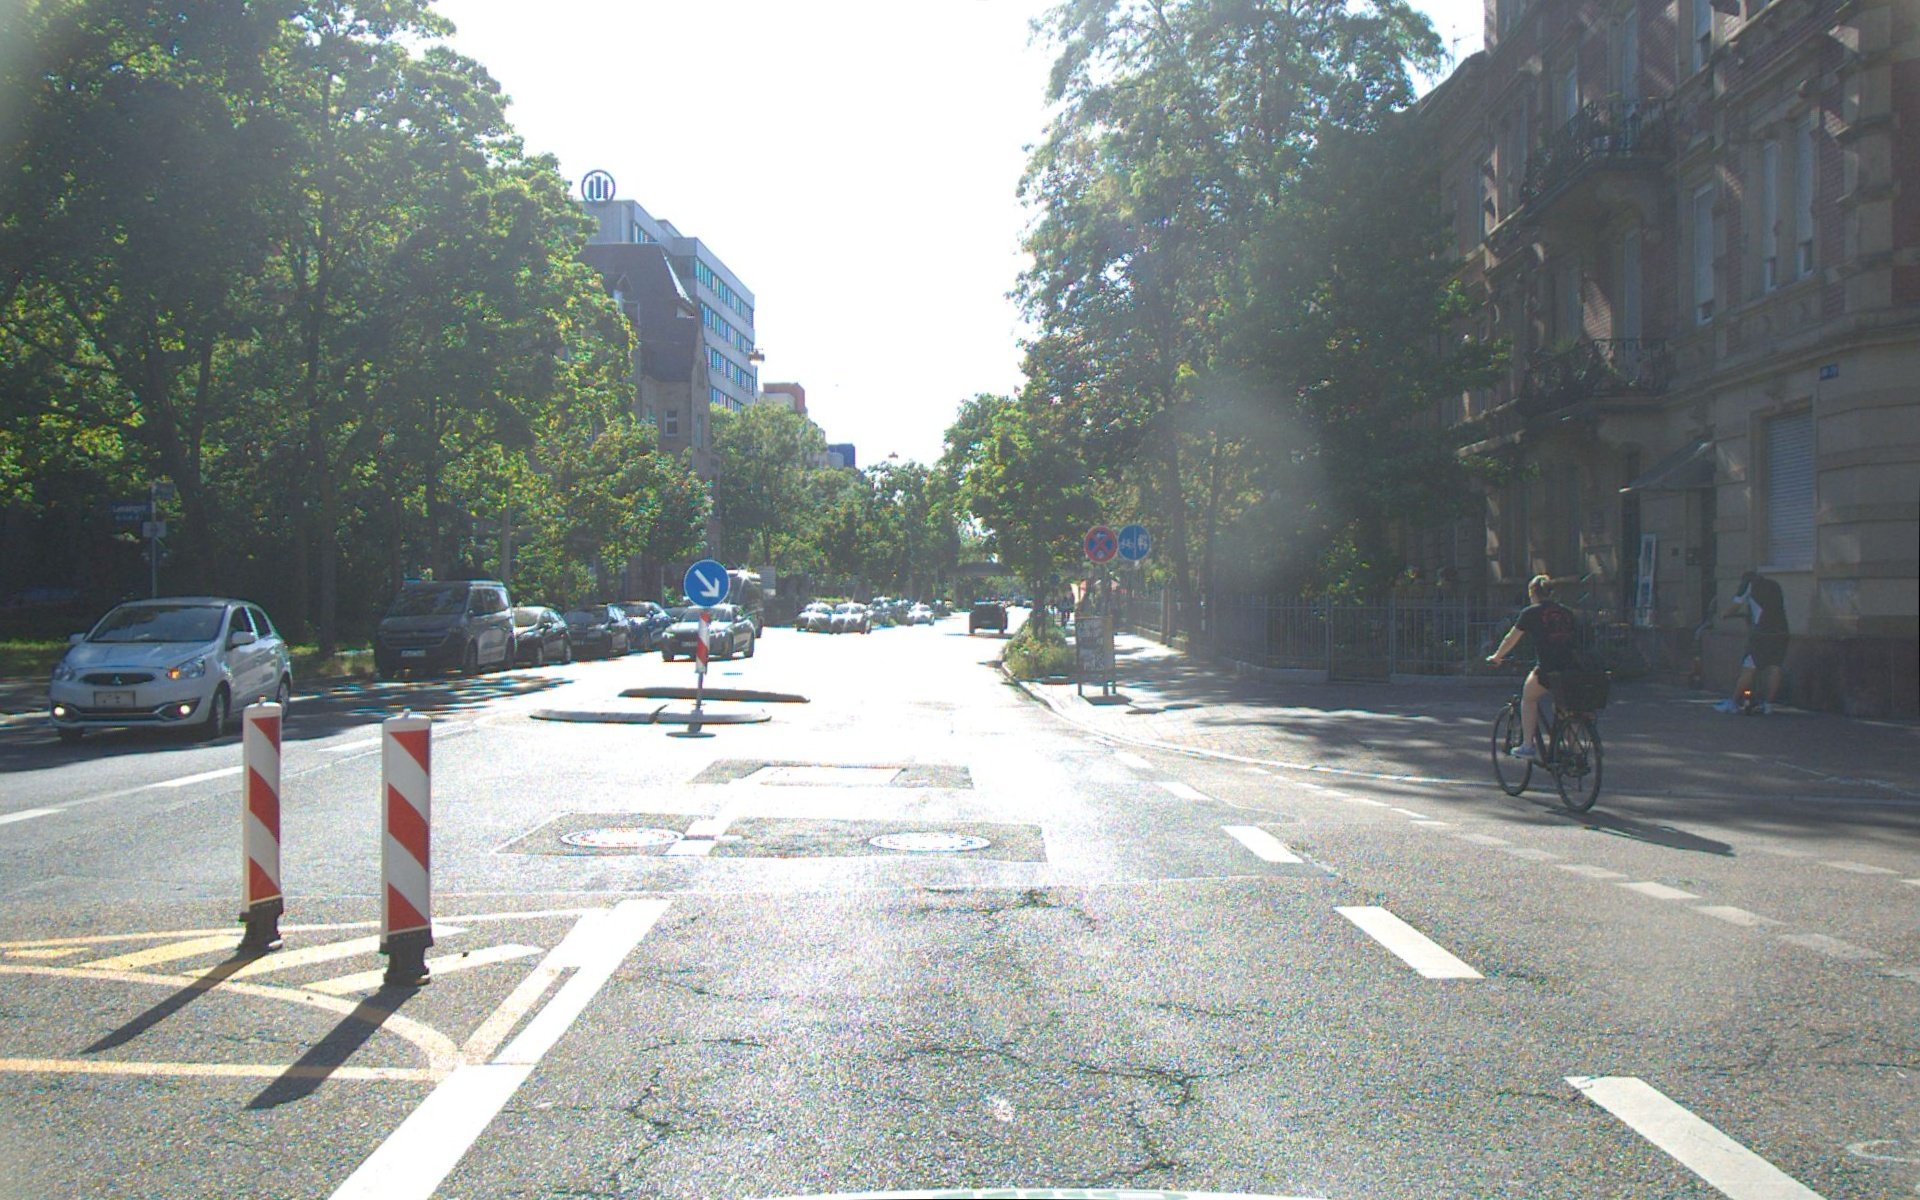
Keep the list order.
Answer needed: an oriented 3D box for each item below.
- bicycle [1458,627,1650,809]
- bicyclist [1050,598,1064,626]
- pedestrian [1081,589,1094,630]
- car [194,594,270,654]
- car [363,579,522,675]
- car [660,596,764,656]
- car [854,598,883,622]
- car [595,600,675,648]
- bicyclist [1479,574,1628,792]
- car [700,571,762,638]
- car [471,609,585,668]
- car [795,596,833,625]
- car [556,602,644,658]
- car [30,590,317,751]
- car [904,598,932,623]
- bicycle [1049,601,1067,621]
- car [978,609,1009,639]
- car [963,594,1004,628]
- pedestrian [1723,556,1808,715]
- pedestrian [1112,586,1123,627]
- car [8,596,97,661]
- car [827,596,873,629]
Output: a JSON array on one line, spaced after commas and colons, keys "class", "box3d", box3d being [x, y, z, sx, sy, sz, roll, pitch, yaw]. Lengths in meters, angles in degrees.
[{"class": "bicycle", "box3d": [4.572, 0.866, 12.896, 0.726, 1.240, 1.959, -2, 0, -1]}, {"class": "bicyclist", "box3d": [4.889, 0.607, 83.422, 0.666, 1.351, 0.636, 1, -3, -2]}, {"class": "pedestrian", "box3d": [6.445, 0.477, 83.807, 0.602, 2.049, 0.680, 0, 0, -2]}, {"class": "car", "box3d": [-21.593, 0.683, 49.187, 1.948, 1.691, 3.973, 0, 0, -22]}, {"class": "car", "box3d": [-11.225, 0.542, 36.260, 2.155, 1.963, 4.859, 0, 0, -3]}, {"class": "car", "box3d": [-6.539, 0.686, 44.127, 1.746, 1.486, 4.417, 1, -1, 5]}, {"class": "car", "box3d": [-6.624, 0.770, 119.749, 1.895, 1.546, 4.028, 1, -3, -1]}, {"class": "car", "box3d": [-10.289, 0.751, 52.553, 1.491, 1.457, 3.556, 0, 0, 7]}, {"class": "bicyclist", "box3d": [4.603, 0.612, 12.900, 0.726, 1.607, 1.100, 1, 1, -1]}, {"class": "car", "box3d": [-9.523, 0.168, 69.147, 1.789, 2.697, 5.162, 0, 1, 1]}, {"class": "car", "box3d": [-10.822, 1.002, 41.707, 1.678, 1.377, 4.000, 1, -3, 2]}, {"class": "car", "box3d": [-7.924, 0.553, 90.195, 1.765, 1.530, 3.807, 0, 0, -1]}, {"class": "car", "box3d": [-10.168, 0.877, 46.953, 1.491, 1.458, 3.338, 1, -3, 5]}, {"class": "car", "box3d": [-8.692, 0.692, 18.649, 1.725, 1.545, 3.854, -1, 1, -7]}, {"class": "car", "box3d": [-2.960, 0.735, 116.570, 1.895, 1.546, 4.028, 1, -3, -1]}, {"class": "bicycle", "box3d": [4.929, 0.562, 83.371, 0.661, 0.954, 2.280, 0, -1, -2]}, {"class": "car", "box3d": [2.062, 1.430, 100.899, 1.781, 1.770, 4.001, 0, 0, 2]}, {"class": "car", "box3d": [1.172, 0.545, 84.310, 1.856, 1.545, 3.999, 2, 1, -1]}, {"class": "pedestrian", "box3d": [9.523, 0.427, 19.575, 0.642, 1.848, 0.751, 1, -3, 3]}, {"class": "pedestrian", "box3d": [7.913, 0.318, 83.191, 0.466, 2.049, 0.492, 1, -3, -2]}, {"class": "car", "box3d": [-25.203, 0.740, 45.866, 1.956, 1.691, 3.956, -1, 1, -32]}, {"class": "car", "box3d": [-5.233, 0.568, 79.385, 1.604, 1.545, 4.033, 0, 0, 5]}]
